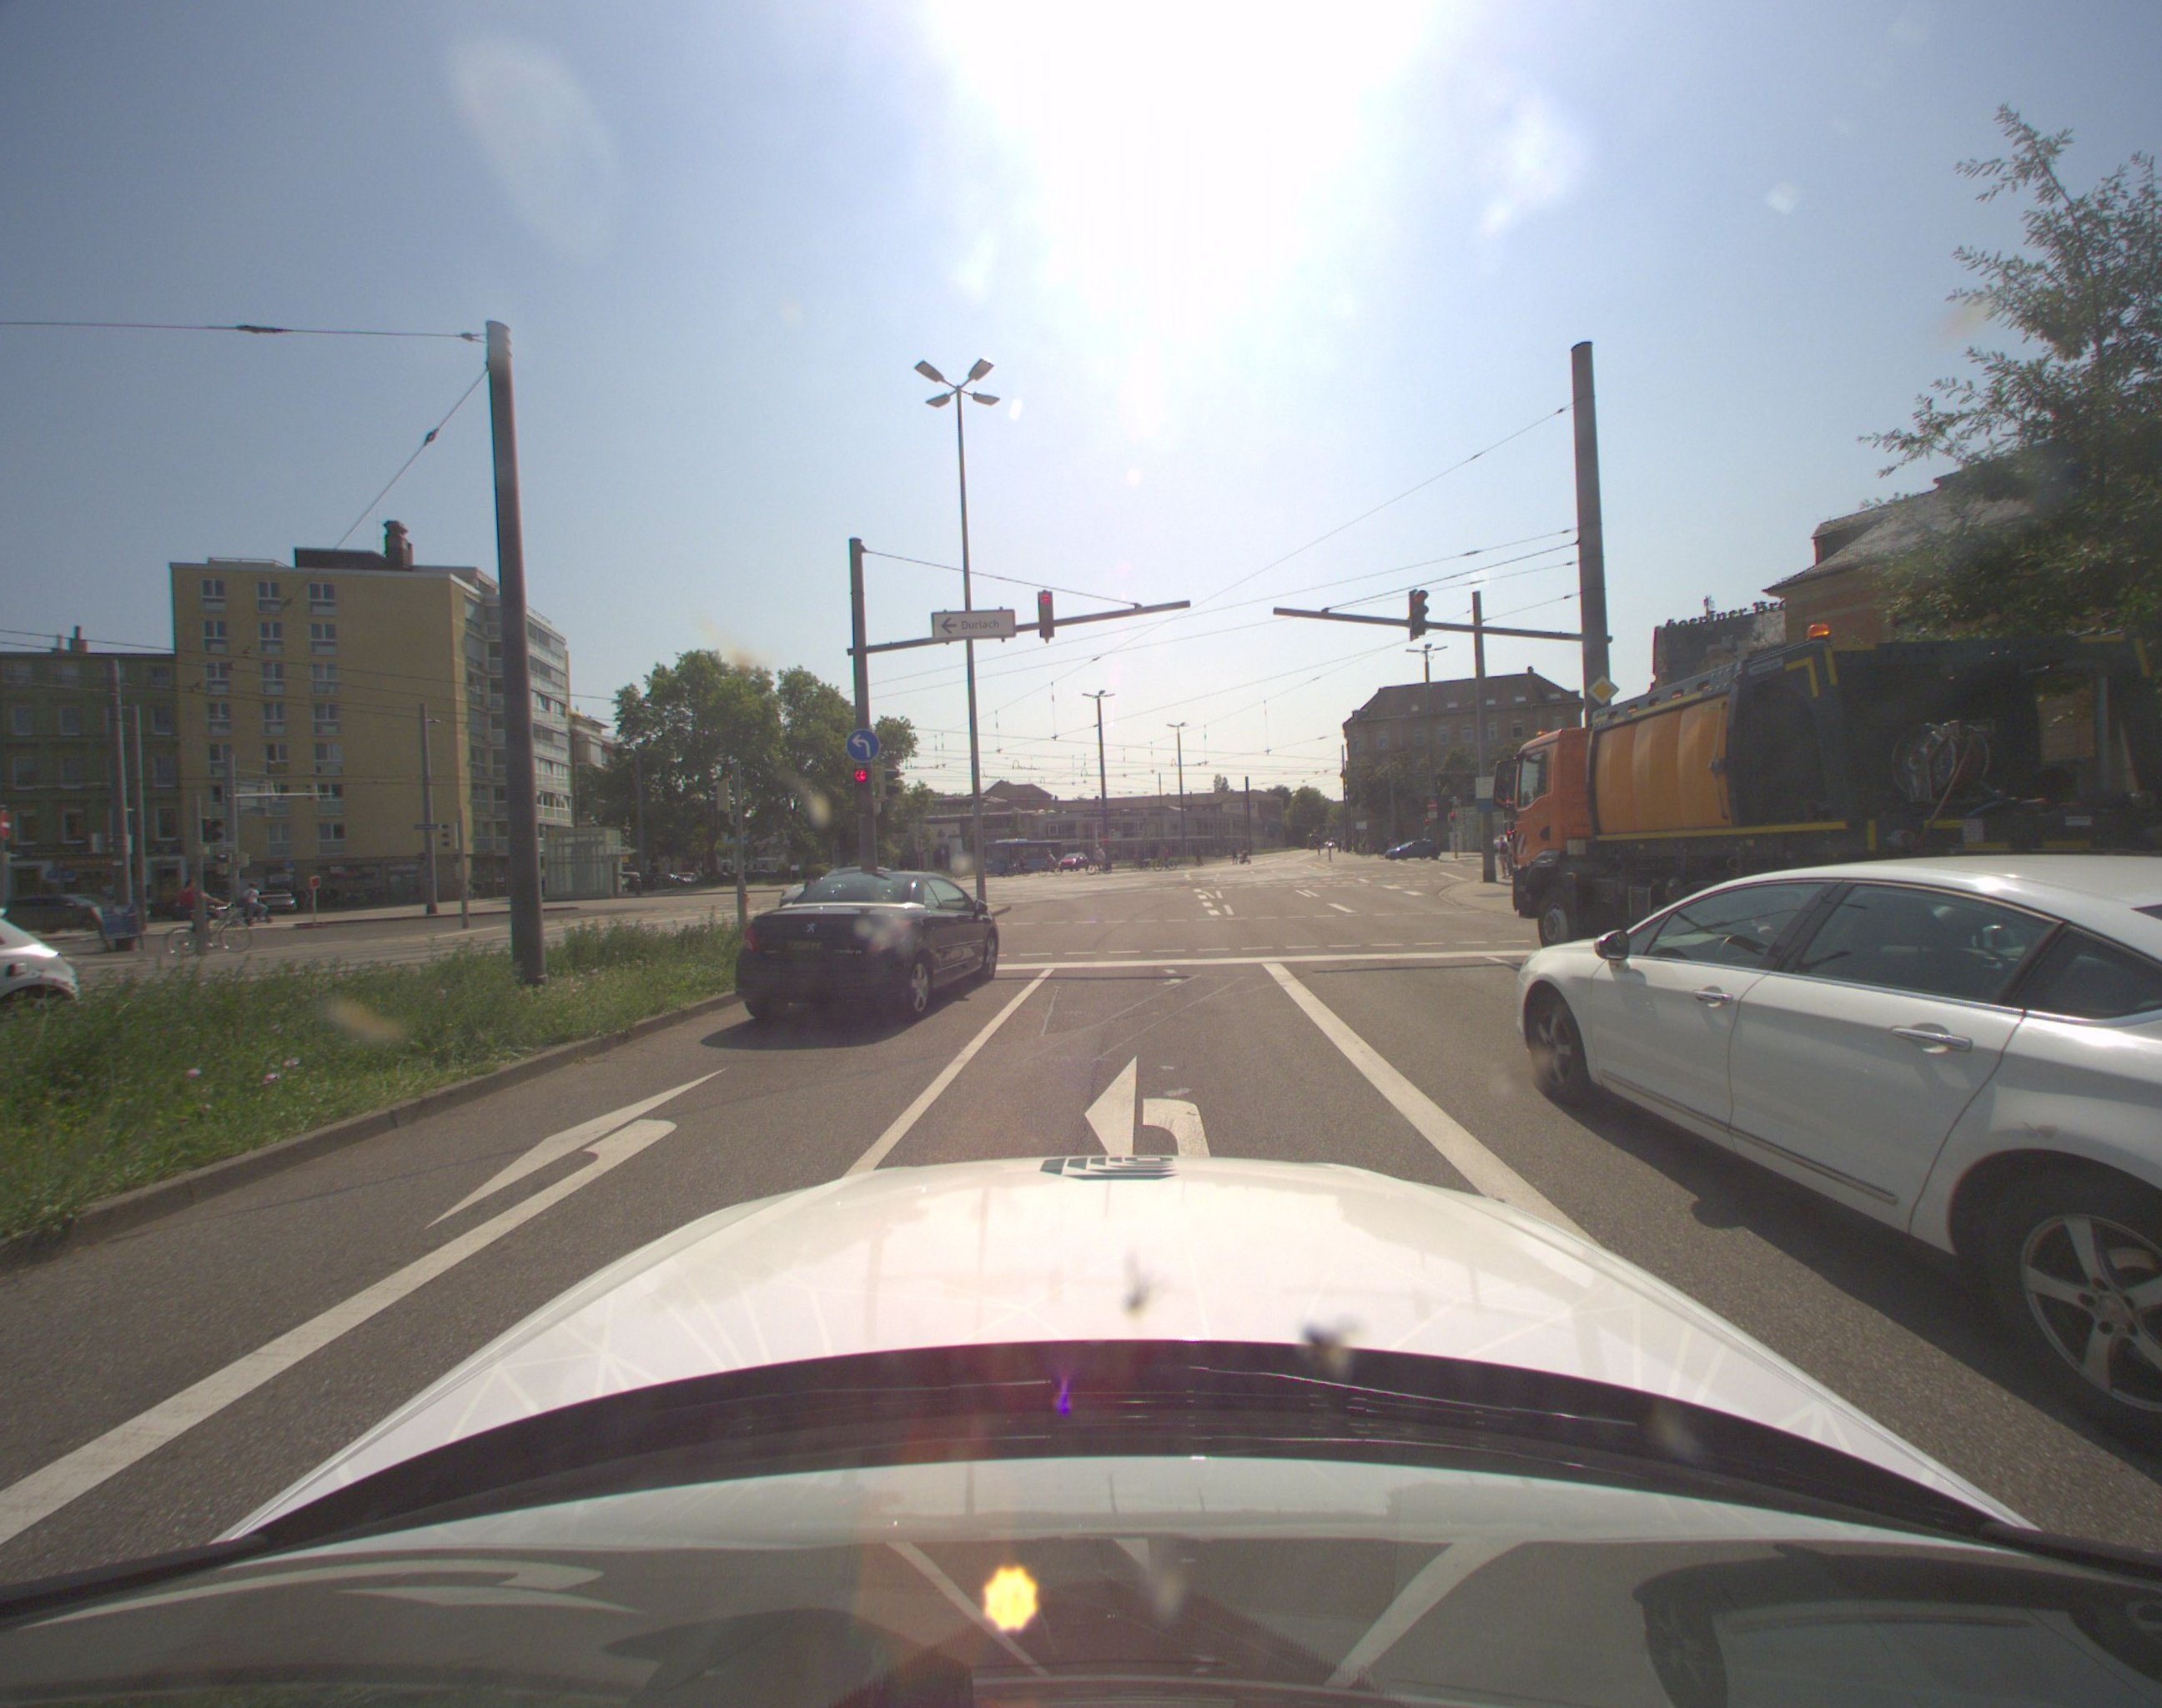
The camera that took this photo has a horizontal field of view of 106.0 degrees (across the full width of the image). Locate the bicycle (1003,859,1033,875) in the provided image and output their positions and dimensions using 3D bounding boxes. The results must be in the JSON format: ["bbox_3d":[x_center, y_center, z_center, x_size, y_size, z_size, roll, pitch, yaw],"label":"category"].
[{"bbox_3d":[-4.876,1.011,63.134,2.198,1.087,0.760,-3,0,-12],"label":"bicycle"}]

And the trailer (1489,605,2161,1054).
[{"bbox_3d":[6.908,-0.167,8.653,2.451,3.007,6.335,-1,0,5],"label":"trailer"}]

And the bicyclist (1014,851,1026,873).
[{"bbox_3d":[-4.737,0.602,63.165,0.762,1.634,0.760,-2,0,-11],"label":"bicyclist"}]

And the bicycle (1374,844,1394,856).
[{"bbox_3d":[25.195,-0.343,67.728,1.577,0.985,0.510,-3,0,20],"label":"bicycle"}]

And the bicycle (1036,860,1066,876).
[{"bbox_3d":[-2.103,0.951,56.801,1.971,1.018,0.715,-3,0,1],"label":"bicycle"}]

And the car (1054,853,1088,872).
[{"bbox_3d":[-0.807,0.726,71.193,1.714,1.420,3.859,-3,0,19],"label":"car"}]

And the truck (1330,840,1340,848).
[{"bbox_3d":[66.365,-2.643,212.758,2.097,2.013,5.127,-3,0,18],"label":"truck"}]

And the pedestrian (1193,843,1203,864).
[{"bbox_3d":[9.722,-0.044,67.594,0.616,1.752,0.631,-3,0,21],"label":"pedestrian"}]

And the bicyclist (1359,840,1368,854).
[{"bbox_3d":[25.189,-0.639,72.595,0.591,1.247,0.508,-3,0,6],"label":"bicyclist"}]

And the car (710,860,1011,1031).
[{"bbox_3d":[-2.120,0.829,9.104,1.748,1.404,3.990,-2,0,8],"label":"car"}]

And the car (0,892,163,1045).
[{"bbox_3d":[-11.520,1.192,7.261,1.760,1.425,4.076,-3,0,8],"label":"car"}]

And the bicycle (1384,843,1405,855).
[{"bbox_3d":[26.712,-0.409,69.349,1.576,0.985,0.510,-3,0,24],"label":"bicycle"}]

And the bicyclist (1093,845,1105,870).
[{"bbox_3d":[1.241,0.245,56.806,0.703,1.764,0.713,-2,0,-7],"label":"bicyclist"}]

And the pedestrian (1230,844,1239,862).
[{"bbox_3d":[13.072,-0.086,69.468,0.632,1.561,0.748,-3,0,3],"label":"pedestrian"}]

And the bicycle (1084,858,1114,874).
[{"bbox_3d":[1.223,0.831,56.802,1.976,1.018,0.713,-3,0,-7],"label":"bicycle"}]

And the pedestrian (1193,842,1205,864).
[{"bbox_3d":[9.899,-0.092,68.537,0.777,1.752,0.813,-3,0,19],"label":"pedestrian"}]

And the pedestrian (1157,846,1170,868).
[{"bbox_3d":[5.912,0.194,58.346,0.664,1.534,0.709,-2,0,-21],"label":"pedestrian"}]

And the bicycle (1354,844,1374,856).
[{"bbox_3d":[25.223,-0.352,72.592,1.583,0.985,0.508,-3,0,5],"label":"bicycle"}]

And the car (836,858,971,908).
[{"bbox_3d":[-5.879,0.939,27.560,1.922,1.400,4.614,-3,0,26],"label":"car"}]

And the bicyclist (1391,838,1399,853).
[{"bbox_3d":[26.734,-0.710,69.339,0.588,1.247,0.510,-3,0,24],"label":"bicyclist"}]

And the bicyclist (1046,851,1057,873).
[{"bbox_3d":[-2.034,0.554,56.796,0.661,1.509,0.715,-3,0,1],"label":"bicyclist"}]

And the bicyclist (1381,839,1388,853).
[{"bbox_3d":[25.241,-0.663,67.710,0.499,1.188,0.510,-3,0,20],"label":"bicyclist"}]

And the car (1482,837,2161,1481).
[{"bbox_3d":[3.491,0.686,3.412,1.749,1.455,4.432,-2,0,5],"label":"car"}]

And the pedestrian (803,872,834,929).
[{"bbox_3d":[-6.167,1.078,19.136,0.596,1.268,0.503,-3,2,-14],"label":"pedestrian"}]

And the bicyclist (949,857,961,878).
[{"bbox_3d":[-9.658,1.003,62.337,0.799,1.541,0.759,-2,0,-15],"label":"bicyclist"}]

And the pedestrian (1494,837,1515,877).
[{"bbox_3d":[16.093,0.100,30.968,0.440,1.477,0.532,-3,2,-19],"label":"pedestrian"}]

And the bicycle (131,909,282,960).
[{"bbox_3d":[-20.118,1.845,18.782,2.412,0.953,0.601,-3,0,-14],"label":"bicycle"}]

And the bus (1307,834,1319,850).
[{"bbox_3d":[55.232,-2.824,193.919,2.542,3.505,7.835,-3,0,16],"label":"bus"}]

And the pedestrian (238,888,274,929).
[{"bbox_3d":[-34.100,2.239,33.674,0.649,1.633,0.811,-3,-1,-13],"label":"pedestrian"}]

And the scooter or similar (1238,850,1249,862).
[{"bbox_3d":[13.856,0.143,69.438,0.832,0.974,0.793,-3,0,3],"label":"scooter or similar"}]

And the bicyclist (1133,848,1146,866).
[{"bbox_3d":[4.485,0.207,62.173,0.670,1.350,0.707,-2,0,-21],"label":"bicyclist"}]

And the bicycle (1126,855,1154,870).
[{"bbox_3d":[4.523,0.637,62.152,1.985,1.018,0.709,-3,0,-21],"label":"bicycle"}]

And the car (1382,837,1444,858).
[{"bbox_3d":[24.820,-0.465,60.934,3.890,1.420,1.730,-3,0,-7],"label":"car"}]

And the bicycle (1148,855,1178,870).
[{"bbox_3d":[5.874,0.594,58.319,1.985,1.018,0.709,-3,0,-21],"label":"bicycle"}]

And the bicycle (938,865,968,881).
[{"bbox_3d":[-9.788,1.430,62.297,2.201,1.087,0.759,-3,0,-15],"label":"bicycle"}]

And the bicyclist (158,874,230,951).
[{"bbox_3d":[-20.373,1.326,18.719,0.840,1.642,0.604,-4,1,-14],"label":"bicyclist"}]

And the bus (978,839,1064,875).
[{"bbox_3d":[-5.225,0.142,74.615,3.027,2.931,11.914,-3,0,21],"label":"bus"}]

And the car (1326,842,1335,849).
[{"bbox_3d":[60.925,-2.089,198.948,1.979,1.483,4.016,-3,0,15],"label":"car"}]
